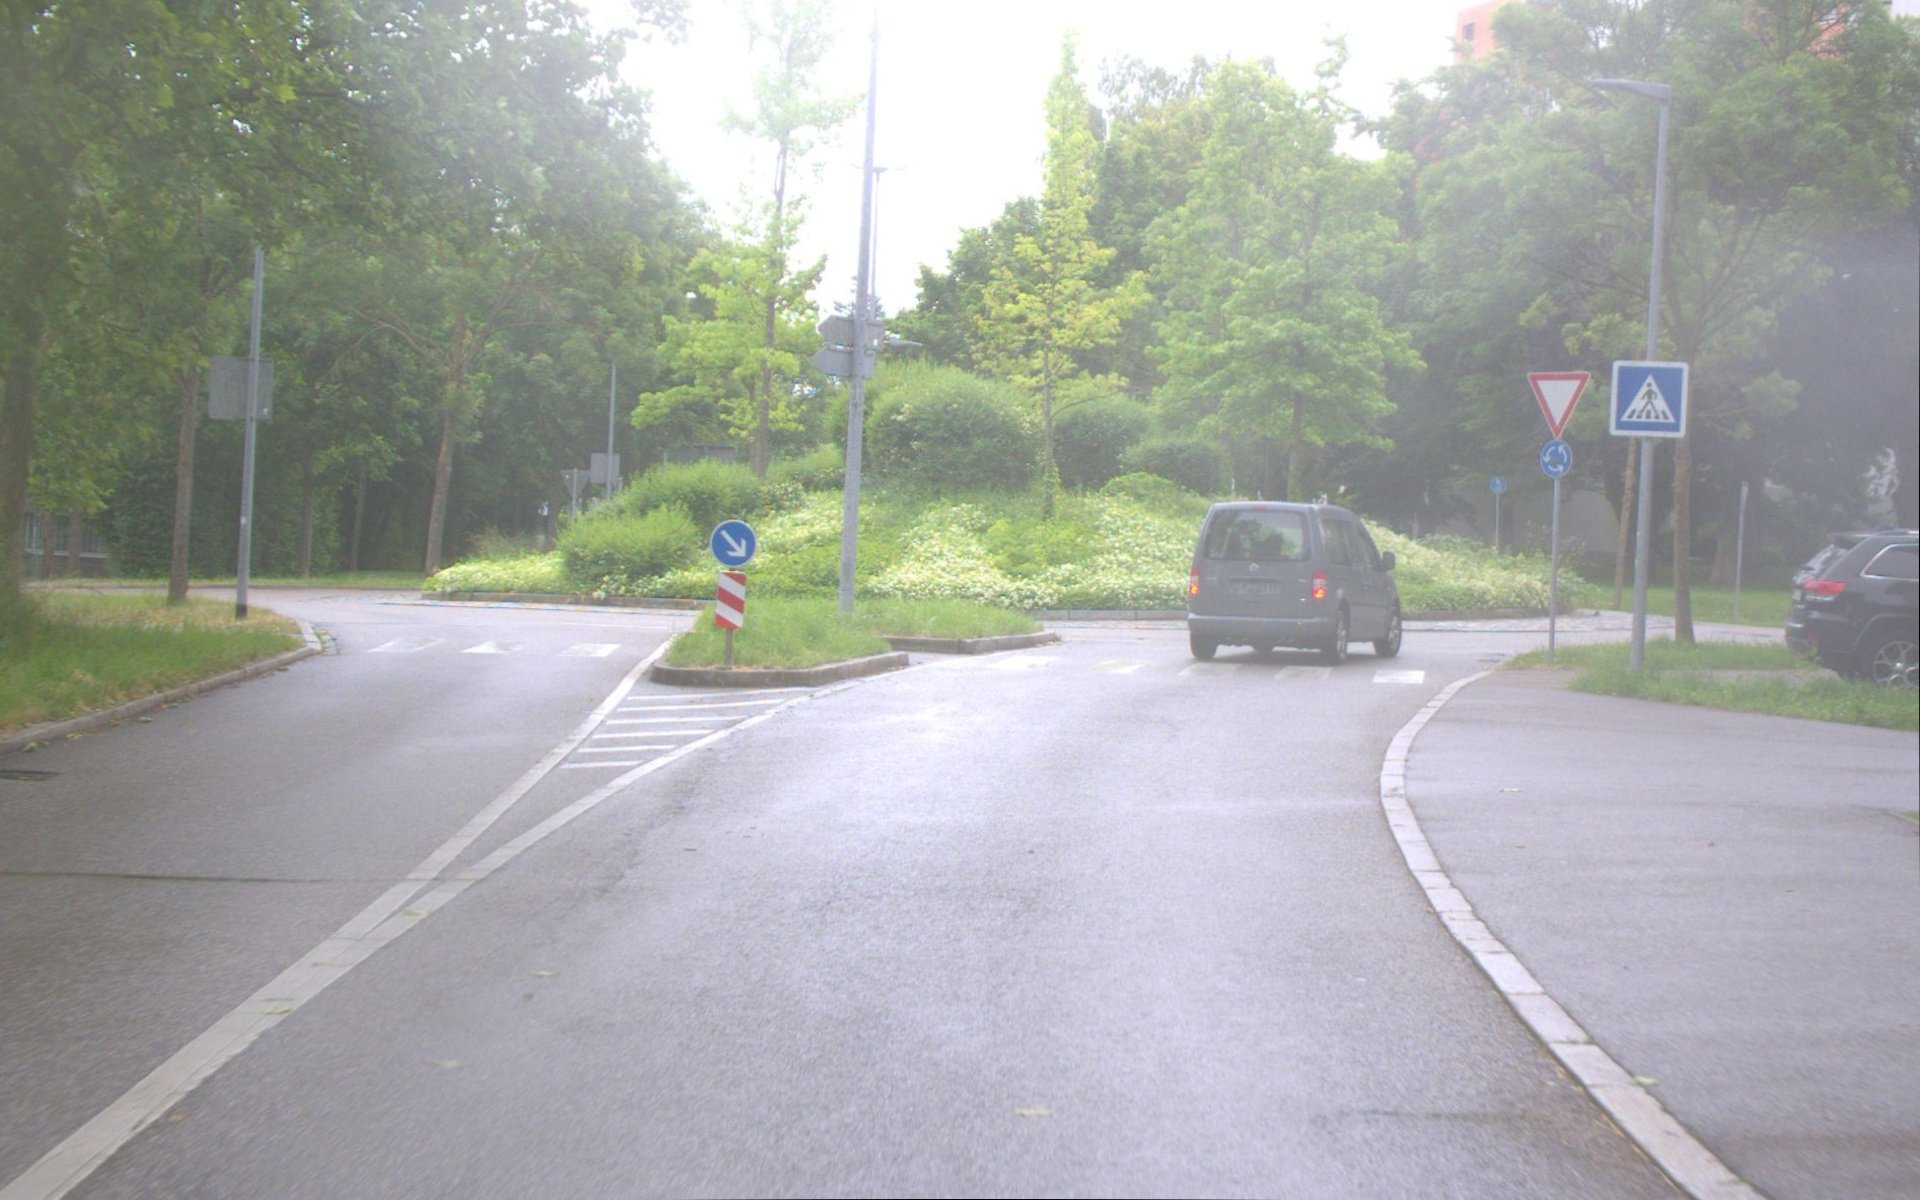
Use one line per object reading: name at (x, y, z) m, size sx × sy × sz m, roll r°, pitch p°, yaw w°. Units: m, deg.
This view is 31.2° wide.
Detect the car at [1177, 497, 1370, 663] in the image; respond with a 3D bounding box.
car at (3.711, -0.285, 40.162) m, size 1.919 × 1.795 × 3.788 m, roll 0°, pitch 2°, yaw 10°

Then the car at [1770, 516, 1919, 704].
car at (10.677, 0.188, 35.051) m, size 4.378 × 1.753 × 1.829 m, roll 4°, pitch 3°, yaw 5°
